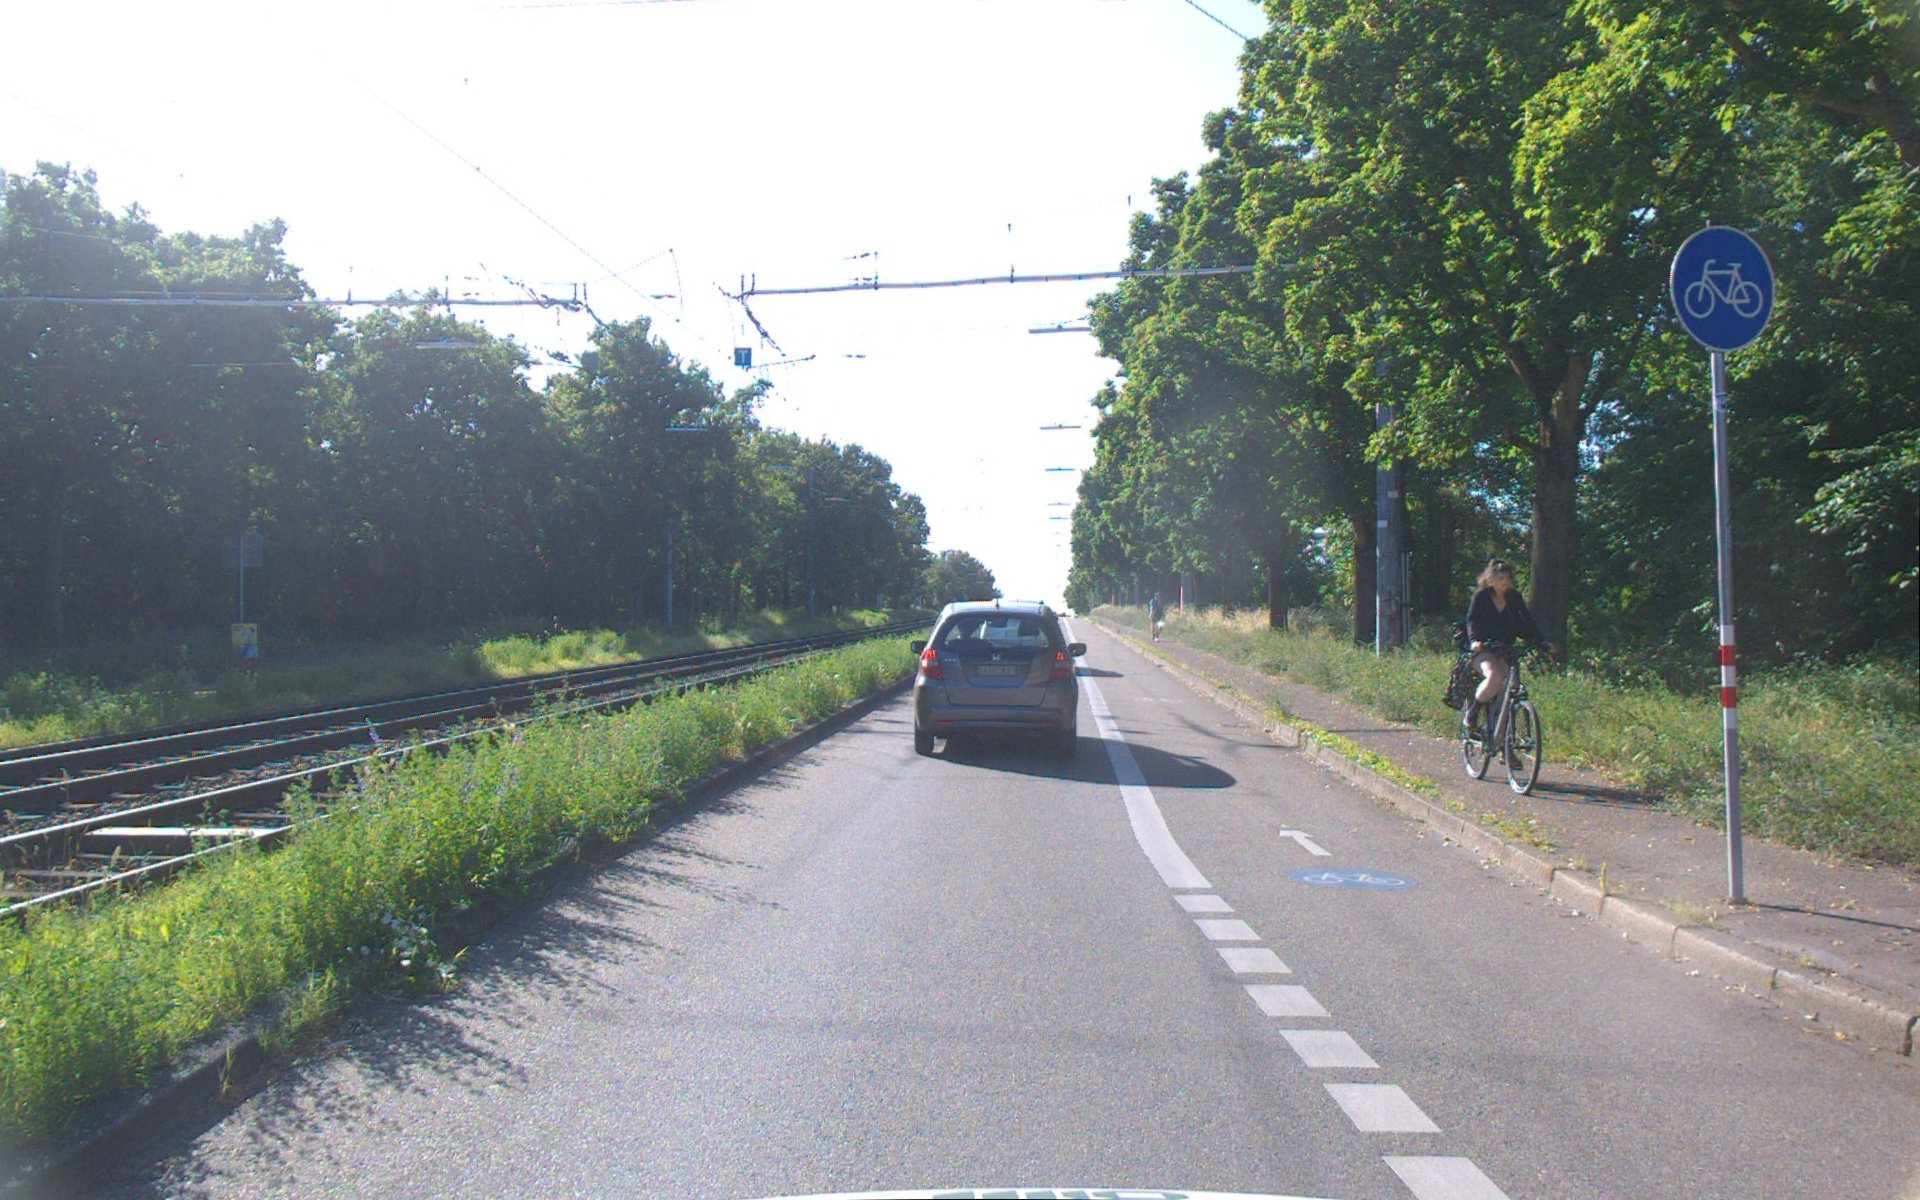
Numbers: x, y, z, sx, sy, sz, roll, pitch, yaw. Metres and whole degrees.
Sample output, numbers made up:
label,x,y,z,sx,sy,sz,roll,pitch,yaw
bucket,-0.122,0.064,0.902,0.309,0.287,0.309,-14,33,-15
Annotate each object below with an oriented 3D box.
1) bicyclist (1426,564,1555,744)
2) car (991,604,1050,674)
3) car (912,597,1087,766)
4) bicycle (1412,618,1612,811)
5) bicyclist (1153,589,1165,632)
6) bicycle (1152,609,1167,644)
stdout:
label,x,y,z,sx,sy,sz,roll,pitch,yaw
bicyclist,4.252,0.415,13.301,0.740,1.392,0.806,-1,0,-3
car,1.417,0.901,38.439,1.323,1.554,3.124,0,-1,2
car,0.452,0.782,17.724,1.636,1.542,3.675,2,0,2
bicycle,4.227,0.817,12.894,0.606,1.210,2.506,-4,2,-1
bicyclist,7.250,0.375,60.243,0.397,1.533,0.575,0,0,3
bicycle,7.251,0.955,60.155,0.409,1.209,1.722,0,0,3
